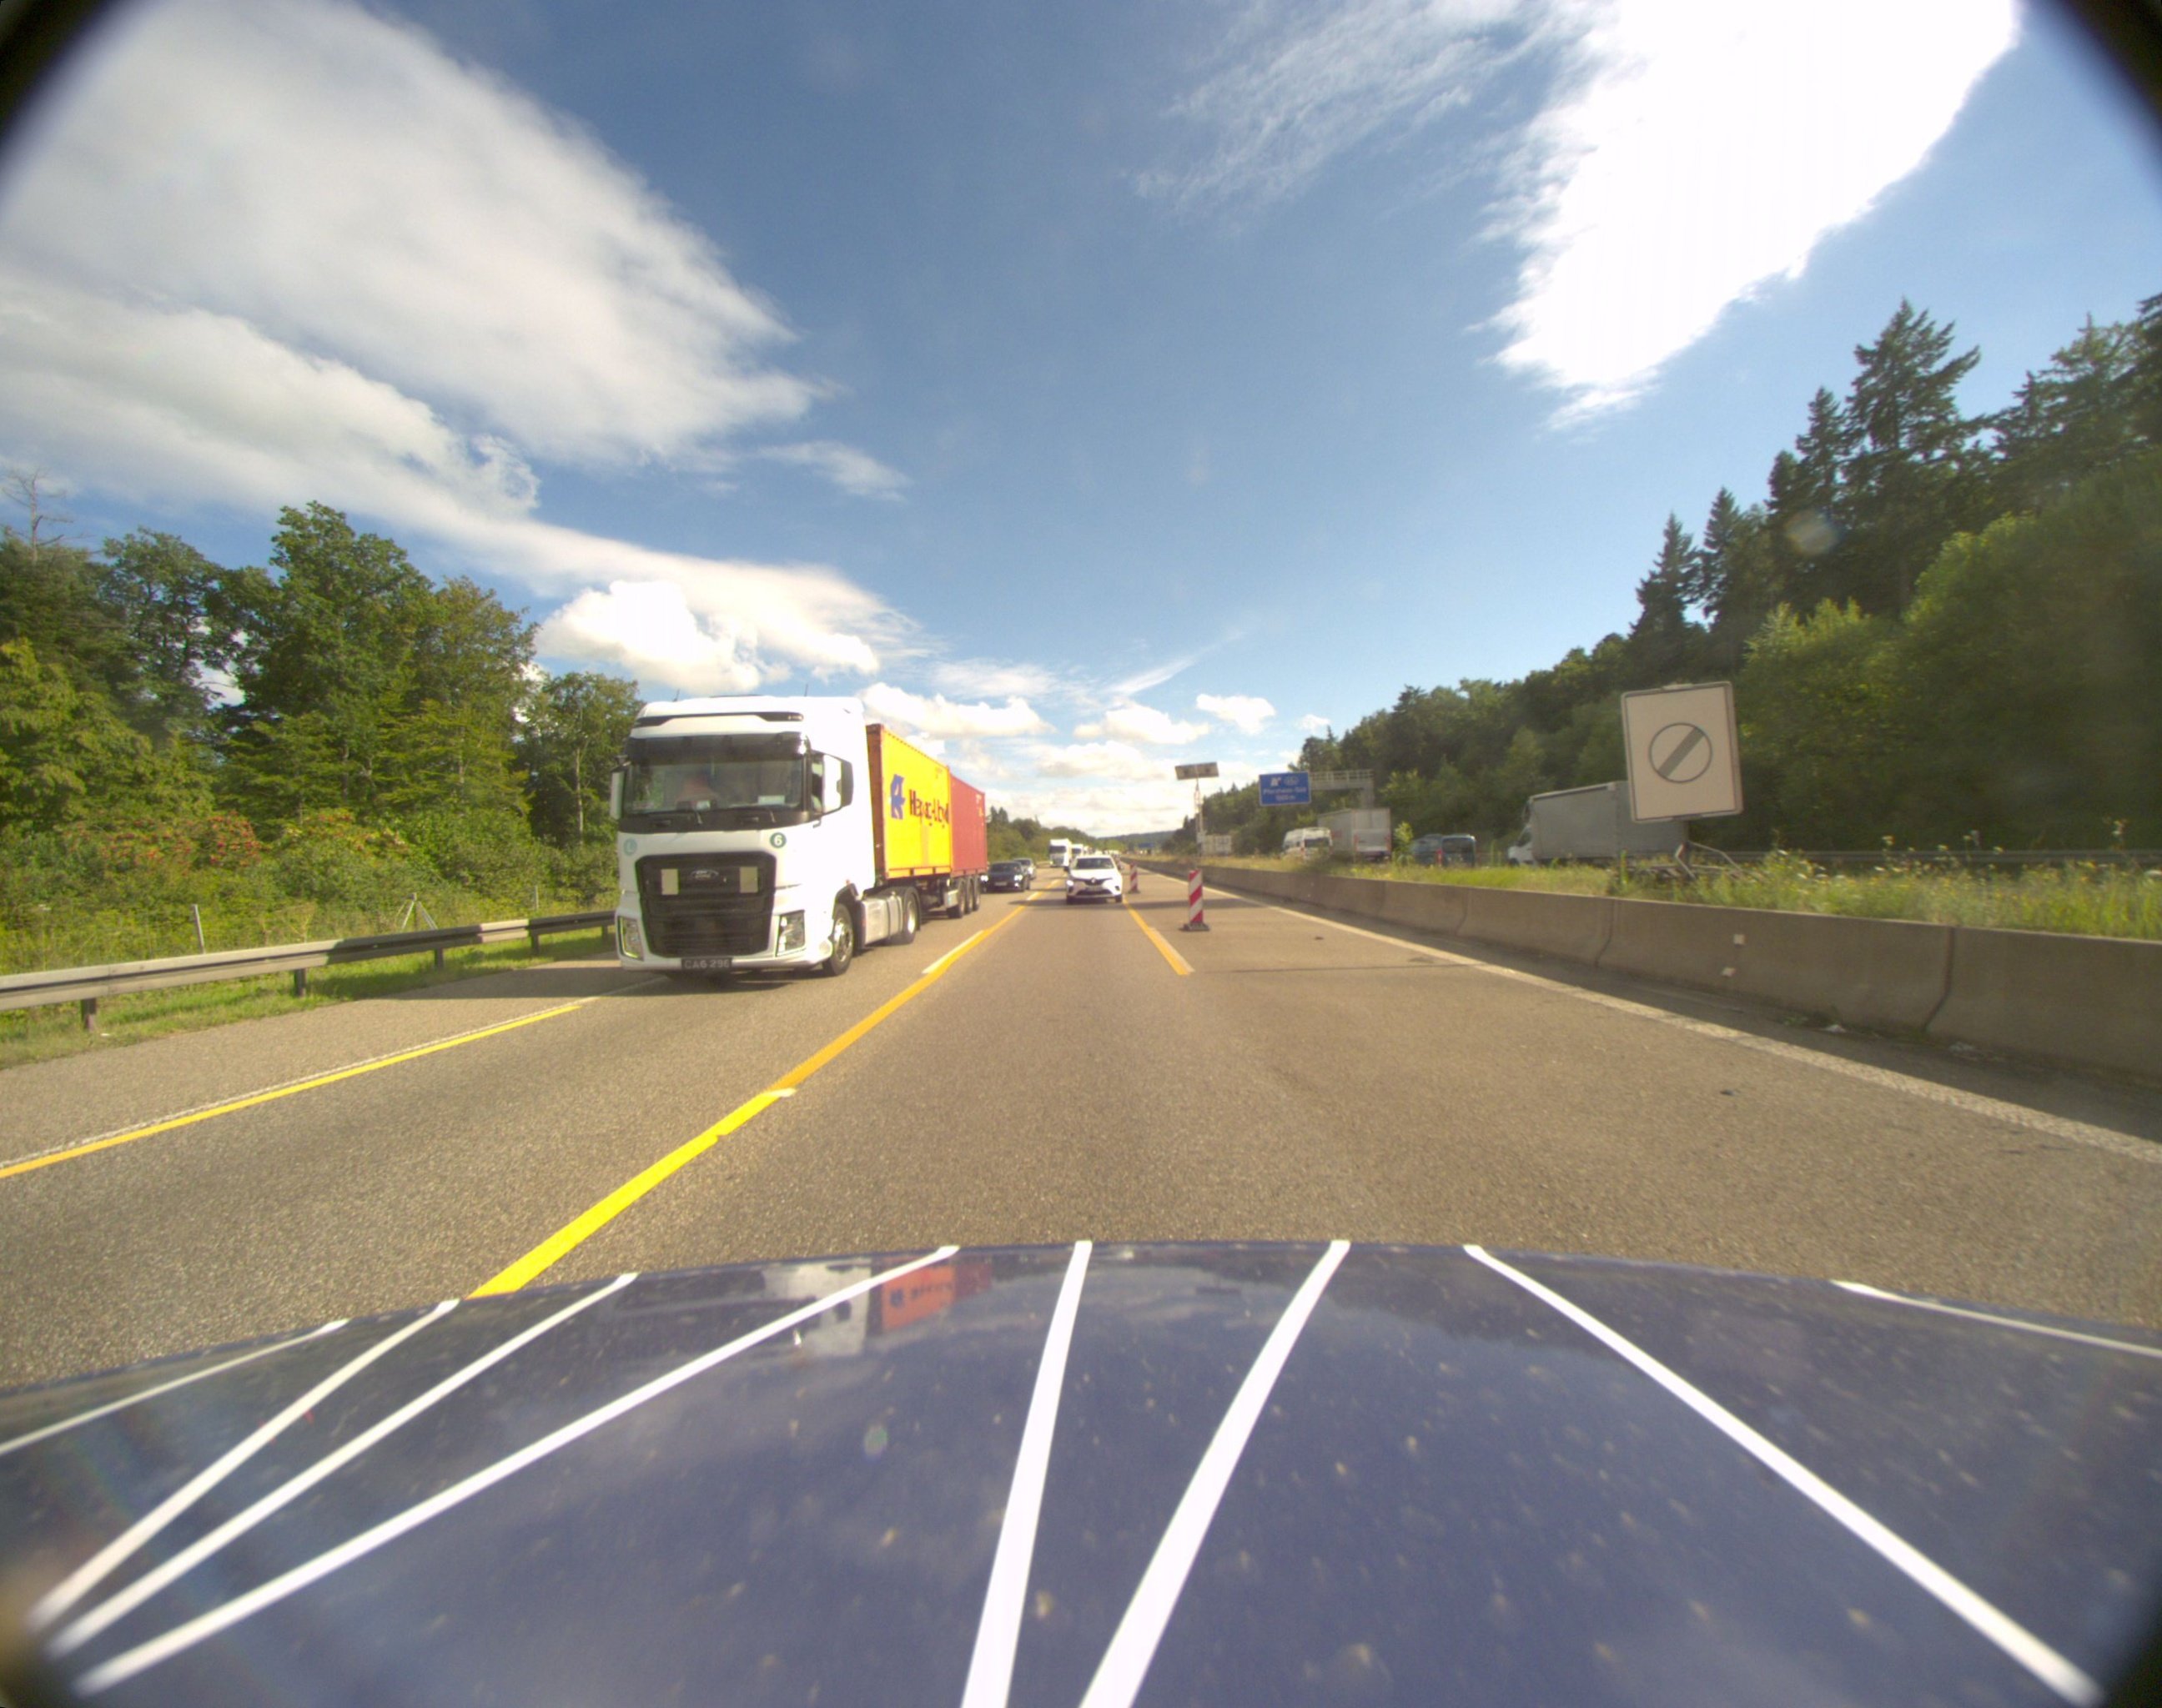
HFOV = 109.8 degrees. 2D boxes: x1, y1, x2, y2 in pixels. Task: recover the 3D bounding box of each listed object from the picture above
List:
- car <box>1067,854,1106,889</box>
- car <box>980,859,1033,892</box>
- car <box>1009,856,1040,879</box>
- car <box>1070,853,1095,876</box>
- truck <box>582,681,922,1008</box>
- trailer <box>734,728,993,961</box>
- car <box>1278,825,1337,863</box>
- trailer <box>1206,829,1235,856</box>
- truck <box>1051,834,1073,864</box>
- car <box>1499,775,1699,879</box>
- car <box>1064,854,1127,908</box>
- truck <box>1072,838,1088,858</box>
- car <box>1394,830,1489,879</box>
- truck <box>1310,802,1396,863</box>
[{"bbox_3d":[0.277,0.797,35.856,1.692,1.471,3.754,-2,1,1],"label":"car"},{"bbox_3d":[-3.379,0.968,35.263,1.933,1.342,4.478,-2,0,1],"label":"car"},{"bbox_3d":[-3.968,0.896,54.058,1.762,1.471,3.967,-2,1,1],"label":"car"},{"bbox_3d":[0.151,0.699,53.789,1.633,1.548,3.754,-2,0,2],"label":"car"},{"bbox_3d":[-4.470,-0.126,11.818,2.501,3.759,5.789,-2,1,1],"label":"truck"},{"bbox_3d":[-4.301,-0.177,18.629,2.477,3.753,12.135,-2,0,1],"label":"trailer"},{"bbox_3d":[15.517,-0.667,52.480,2.165,2.437,6.331,-2,0,1],"label":"car"},{"bbox_3d":[21.410,-1.752,116.936,2.797,3.901,8.487,-2,1,1],"label":"trailer"},{"bbox_3d":[-2.710,-0.745,111.222,2.641,4.092,8.196,-2,0,2],"label":"truck"},{"bbox_3d":[19.259,-0.929,28.947,2.493,3.351,7.451,-2,1,0],"label":"car"},{"bbox_3d":[0.435,0.817,25.054,1.840,1.528,3.882,-2,1,0],"label":"car"},{"bbox_3d":[-0.192,-1.245,161.570,2.640,4.092,8.197,-2,0,3],"label":"truck"},{"bbox_3d":[14.682,0.009,31.237,1.949,1.802,4.118,-2,1,1],"label":"car"},{"bbox_3d":[19.862,-1.460,56.314,2.807,3.969,10.185,-2,0,1],"label":"truck"}]
